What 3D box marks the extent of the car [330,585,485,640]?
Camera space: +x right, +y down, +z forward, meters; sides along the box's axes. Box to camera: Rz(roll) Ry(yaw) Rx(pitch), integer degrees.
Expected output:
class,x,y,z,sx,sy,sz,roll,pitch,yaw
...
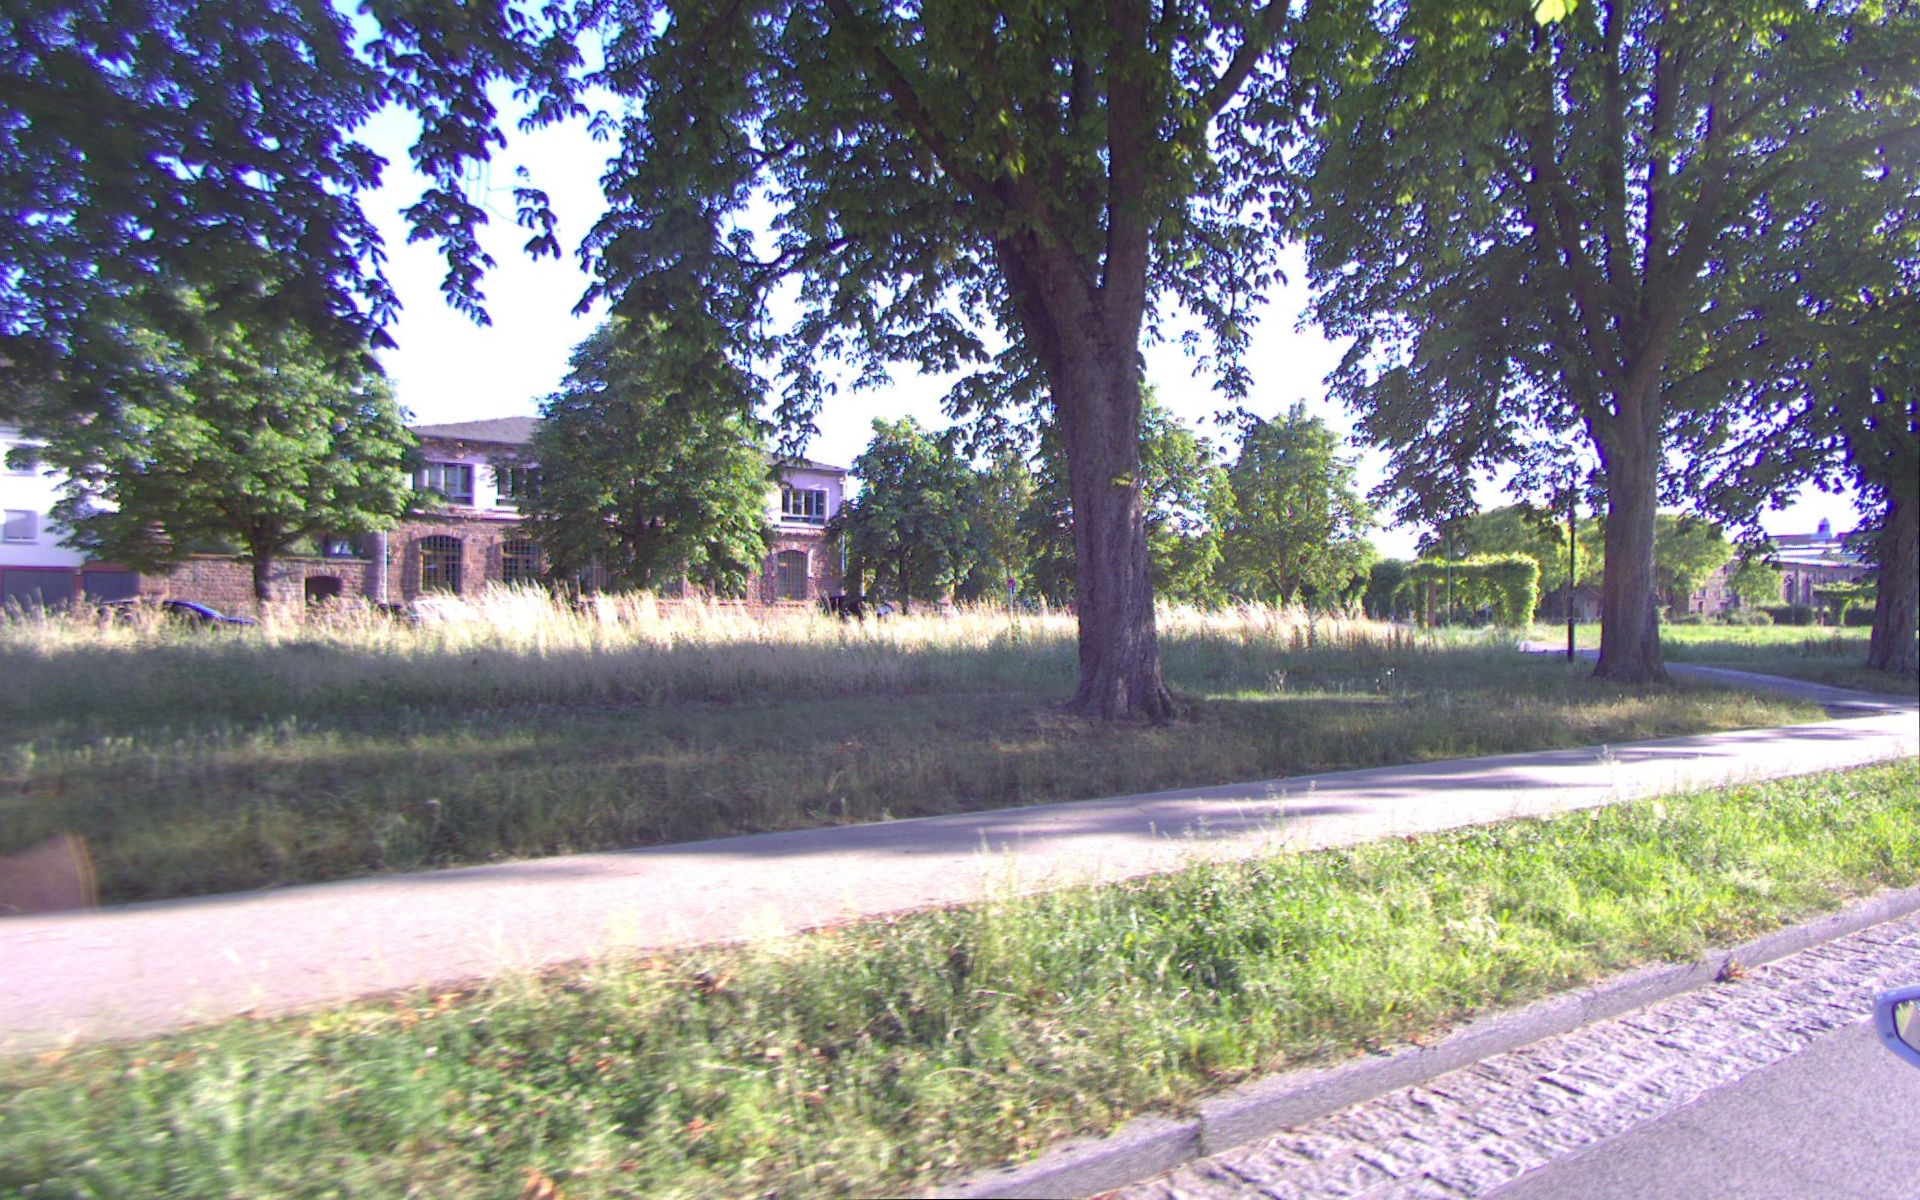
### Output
class,x,y,z,sx,sy,sz,roll,pitch,yaw
car,-17.355,0.396,31.689,4.173,1.619,1.684,1,0,-31

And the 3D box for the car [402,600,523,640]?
class,x,y,z,sx,sy,sz,roll,pitch,yaw
car,-18.598,0.746,37.594,3.953,1.424,1.621,1,0,-31

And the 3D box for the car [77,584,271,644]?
class,x,y,z,sx,sy,sz,roll,pitch,yaw
car,-22.415,0.415,28.874,4.173,1.619,1.684,1,0,-31
